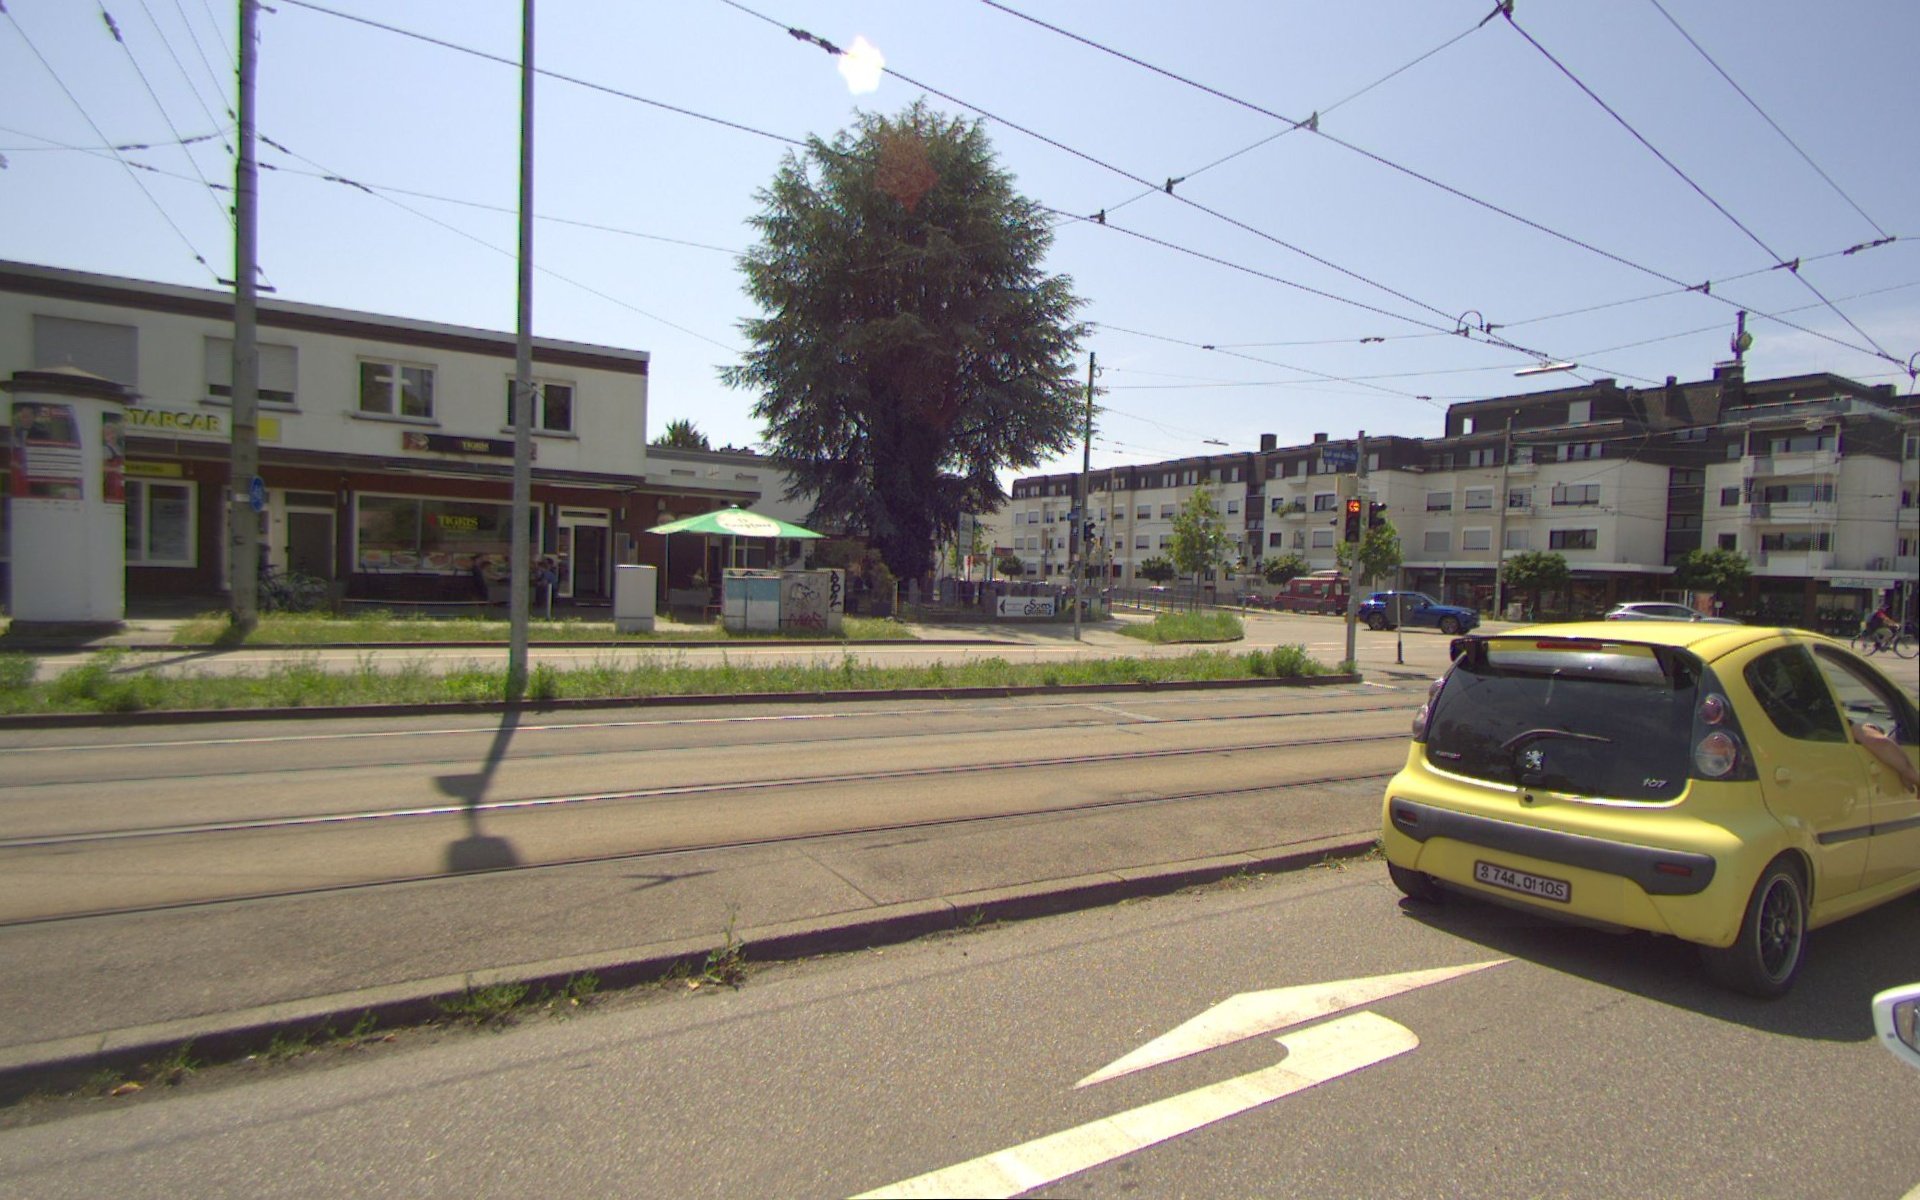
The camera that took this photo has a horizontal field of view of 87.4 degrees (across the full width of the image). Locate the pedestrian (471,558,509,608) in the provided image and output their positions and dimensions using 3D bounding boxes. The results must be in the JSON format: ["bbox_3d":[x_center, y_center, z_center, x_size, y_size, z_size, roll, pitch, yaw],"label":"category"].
[{"bbox_3d":[-12.482,-0.440,26.689,0.832,1.285,0.586,2,0,-30],"label":"pedestrian"}]

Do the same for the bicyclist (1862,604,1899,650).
[{"bbox_3d":[31.021,0.901,33.860,0.737,1.521,0.482,2,0,21],"label":"bicyclist"}]

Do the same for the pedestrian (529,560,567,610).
[{"bbox_3d":[-10.989,-0.386,26.793,0.832,1.285,0.586,2,0,-30],"label":"pedestrian"}]

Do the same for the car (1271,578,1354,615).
[{"bbox_3d":[23.939,-0.236,68.311,2.219,2.372,5.038,2,0,-31],"label":"car"}]

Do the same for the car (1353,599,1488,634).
[{"bbox_3d":[18.981,0.661,41.538,4.717,1.253,1.928,2,0,43],"label":"car"}]

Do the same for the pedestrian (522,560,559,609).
[{"bbox_3d":[-11.422,-0.420,27.343,0.832,1.285,0.586,2,0,-30],"label":"pedestrian"}]

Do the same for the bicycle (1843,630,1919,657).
[{"bbox_3d":[31.140,1.463,33.884,1.948,0.793,0.466,2,0,21],"label":"bicycle"}]

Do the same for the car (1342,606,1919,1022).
[{"bbox_3d":[3.751,0.782,5.151,3.254,1.464,1.715,1,0,-31],"label":"car"}]

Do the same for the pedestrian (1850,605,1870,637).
[{"bbox_3d":[50.071,1.152,55.884,0.598,1.777,0.506,2,0,16],"label":"pedestrian"}]

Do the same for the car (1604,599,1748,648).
[{"bbox_3d":[26.221,0.858,36.985,4.078,1.605,1.936,2,0,30],"label":"car"}]

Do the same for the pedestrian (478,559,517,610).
[{"bbox_3d":[-12.004,-0.404,26.068,0.832,1.285,0.586,2,0,-30],"label":"pedestrian"}]

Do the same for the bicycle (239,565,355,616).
[{"bbox_3d":[-14.083,-0.189,21.402,2.006,0.992,0.607,2,0,-31],"label":"bicycle"}]

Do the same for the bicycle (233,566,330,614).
[{"bbox_3d":[-15.097,-0.210,22.393,1.738,0.992,0.536,2,0,-31],"label":"bicycle"}]
